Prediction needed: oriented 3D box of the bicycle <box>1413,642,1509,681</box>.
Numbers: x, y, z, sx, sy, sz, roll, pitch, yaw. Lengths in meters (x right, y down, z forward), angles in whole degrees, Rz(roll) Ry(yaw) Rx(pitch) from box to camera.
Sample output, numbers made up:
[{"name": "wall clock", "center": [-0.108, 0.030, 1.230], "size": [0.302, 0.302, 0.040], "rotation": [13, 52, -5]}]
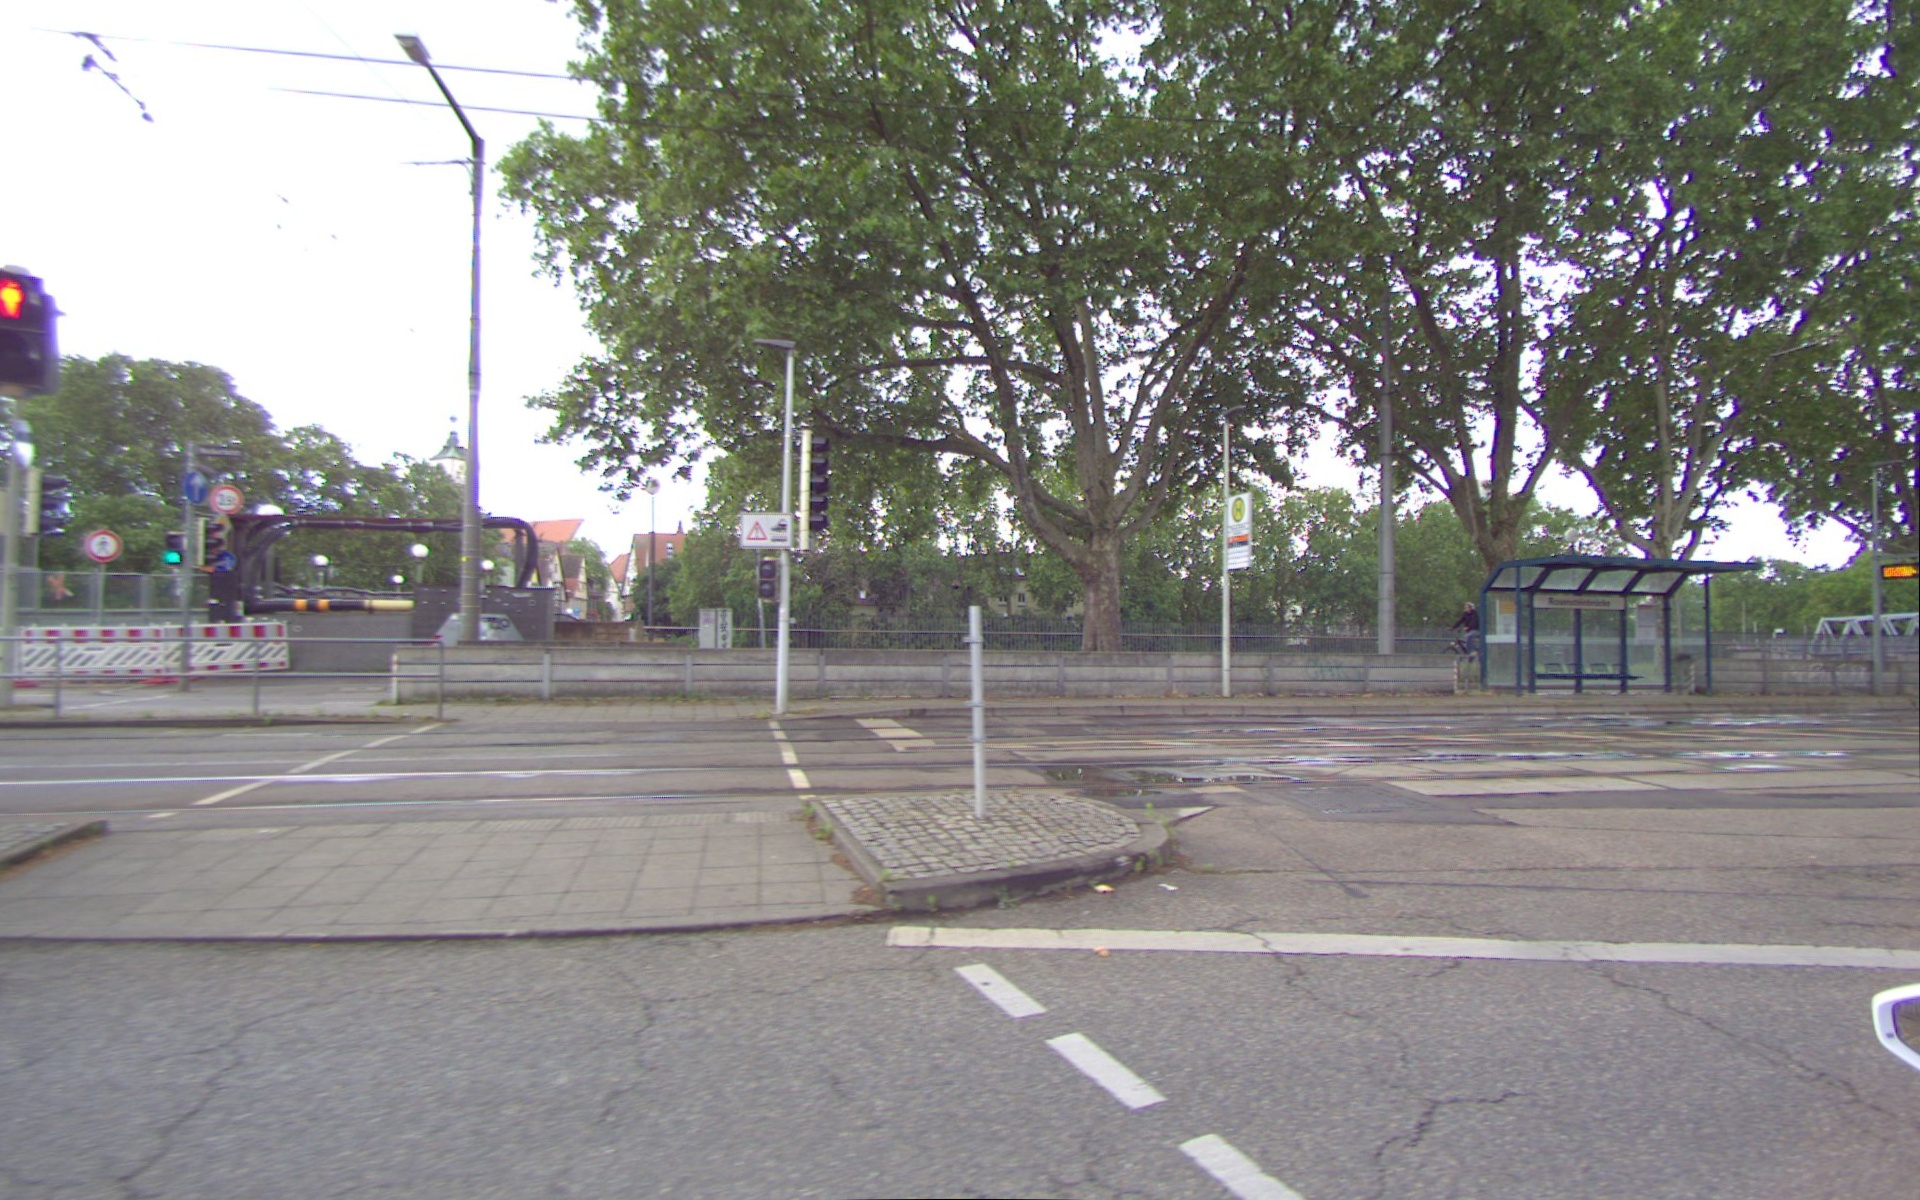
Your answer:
[{"name": "bicycle", "center": [14.295, 1.756, 28.690], "size": [2.455, 1.027, 0.932], "rotation": [2, -3, -14]}]

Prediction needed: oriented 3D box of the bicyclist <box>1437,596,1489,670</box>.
[{"name": "bicyclist", "center": [14.389, 0.958, 28.737], "size": [0.961, 2.040, 0.956], "rotation": [2, -3, -14]}]
